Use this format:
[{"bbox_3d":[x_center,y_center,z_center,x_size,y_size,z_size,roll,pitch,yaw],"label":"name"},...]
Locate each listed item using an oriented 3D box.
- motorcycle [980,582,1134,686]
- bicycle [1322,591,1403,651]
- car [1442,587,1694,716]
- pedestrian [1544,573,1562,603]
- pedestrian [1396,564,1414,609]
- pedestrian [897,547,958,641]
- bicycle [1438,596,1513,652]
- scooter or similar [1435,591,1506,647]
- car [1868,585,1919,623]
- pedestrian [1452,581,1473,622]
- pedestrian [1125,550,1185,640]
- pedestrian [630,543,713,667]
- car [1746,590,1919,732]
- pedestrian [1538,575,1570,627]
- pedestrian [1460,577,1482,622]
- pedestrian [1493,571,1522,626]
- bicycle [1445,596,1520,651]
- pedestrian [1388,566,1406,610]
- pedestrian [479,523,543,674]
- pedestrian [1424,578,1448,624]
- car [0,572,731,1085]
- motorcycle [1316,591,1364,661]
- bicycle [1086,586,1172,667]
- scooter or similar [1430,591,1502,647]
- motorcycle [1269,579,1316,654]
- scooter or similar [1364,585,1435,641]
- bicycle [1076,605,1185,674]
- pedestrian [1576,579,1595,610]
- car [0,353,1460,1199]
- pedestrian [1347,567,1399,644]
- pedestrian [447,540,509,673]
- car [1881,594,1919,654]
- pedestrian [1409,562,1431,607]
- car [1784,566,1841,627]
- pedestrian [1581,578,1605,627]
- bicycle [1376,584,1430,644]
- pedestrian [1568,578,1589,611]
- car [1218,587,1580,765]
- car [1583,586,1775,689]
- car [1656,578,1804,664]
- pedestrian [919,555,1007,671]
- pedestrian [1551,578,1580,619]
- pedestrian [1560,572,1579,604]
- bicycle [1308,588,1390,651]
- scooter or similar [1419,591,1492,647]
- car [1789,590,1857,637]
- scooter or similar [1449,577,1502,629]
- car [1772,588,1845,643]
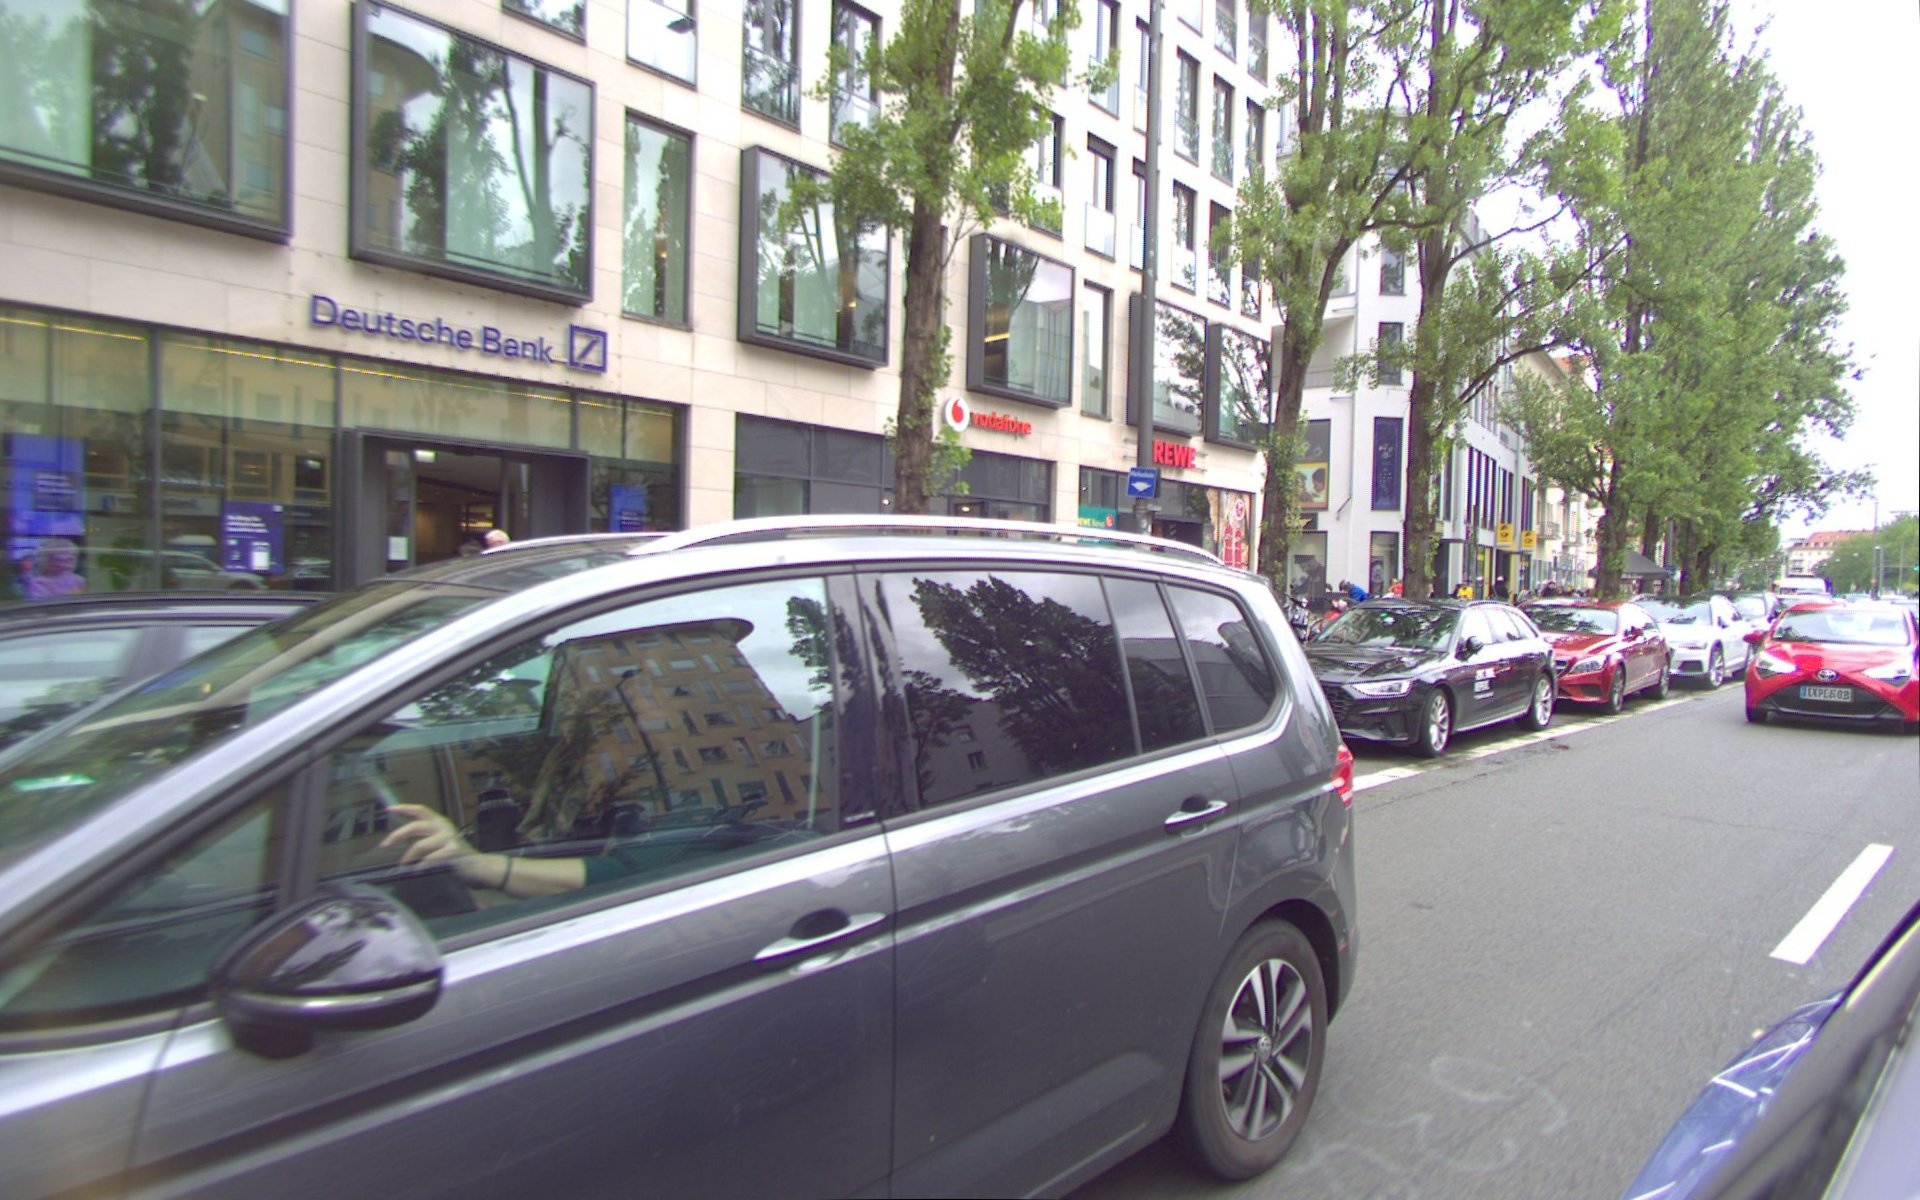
[{"bbox_3d":[1.308,0.430,13.644,1.946,1.267,0.636,3,2,16],"label":"motorcycle"},{"bbox_3d":[8.754,0.435,22.085,0.442,1.186,1.772,1,2,-25],"label":"bicycle"},{"bbox_3d":[8.749,0.599,14.356,4.726,1.468,1.932,0,2,-45],"label":"car"},{"bbox_3d":[32.165,-0.652,54.893,0.689,1.604,0.762,3,1,38],"label":"pedestrian"},{"bbox_3d":[16.517,-0.495,37.524,0.545,1.644,0.501,0,1,33],"label":"pedestrian"},{"bbox_3d":[-0.589,-0.121,18.125,0.794,1.641,0.706,3,2,44],"label":"pedestrian"},{"bbox_3d":[12.231,0.548,24.032,1.479,1.222,0.527,3,2,44],"label":"bicycle"},{"bbox_3d":[11.942,0.423,23.697,1.434,1.215,0.306,3,2,43],"label":"scooter or similar"},{"bbox_3d":[45.696,0.155,49.234,1.990,1.771,3.945,1,1,38],"label":"car"},{"bbox_3d":[19.778,0.057,39.801,0.557,1.595,0.674,2,1,16],"label":"pedestrian"},{"bbox_3d":[4.228,-0.122,21.946,0.922,1.892,0.819,0,2,-42],"label":"pedestrian"},{"bbox_3d":[-3.990,0.047,13.991,0.824,1.641,0.736,0,2,-44],"label":"pedestrian"},{"bbox_3d":[11.078,0.636,12.491,3.536,1.464,1.667,-1,1,-44],"label":"car"},{"bbox_3d":[19.829,0.026,33.791,0.714,1.696,0.771,4,2,43],"label":"pedestrian"},{"bbox_3d":[19.174,-0.032,37.962,0.559,1.654,0.492,1,2,-37],"label":"pedestrian"},{"bbox_3d":[20.073,-0.063,37.108,0.646,1.948,0.912,4,2,43],"label":"pedestrian"},{"bbox_3d":[12.598,0.546,24.435,1.479,1.222,0.527,3,2,44],"label":"bicycle"},{"bbox_3d":[16.481,-0.441,38.164,0.541,1.644,0.505,0,1,15],"label":"pedestrian"},{"bbox_3d":[-5.049,-0.020,11.406,0.546,1.658,0.553,1,1,-14],"label":"pedestrian"},{"bbox_3d":[16.460,0.032,35.023,0.559,1.586,0.492,1,2,-37],"label":"pedestrian"},{"bbox_3d":[-3.208,0.636,3.602,4.355,1.411,1.737,0,3,-41],"label":"car"},{"bbox_3d":[6.937,0.438,18.444,0.680,1.170,1.630,2,2,24],"label":"motorcycle"},{"bbox_3d":[2.699,0.393,16.058,0.455,1.202,1.688,3,2,43],"label":"bicycle"},{"bbox_3d":[11.714,0.418,23.459,1.434,1.215,0.306,3,2,43],"label":"scooter or similar"},{"bbox_3d":[6.474,0.289,19.653,0.680,1.373,1.630,2,2,24],"label":"motorcycle"},{"bbox_3d":[10.272,0.293,23.660,0.544,1.226,1.387,1,2,-41],"label":"scooter or similar"},{"bbox_3d":[2.533,0.567,14.925,1.728,0.952,0.435,1,2,-34],"label":"bicycle"},{"bbox_3d":[32.351,-0.302,52.356,0.681,1.577,0.739,3,2,40],"label":"pedestrian"},{"bbox_3d":[-0.665,0.563,2.317,4.110,1.634,1.765,0,1,-40],"label":"car"},{"bbox_3d":[9.170,0.113,22.492,0.600,1.639,0.796,1,2,-25],"label":"pedestrian"},{"bbox_3d":[-5.615,0.071,11.803,0.536,1.509,0.505,1,1,-14],"label":"pedestrian"},{"bbox_3d":[25.365,0.606,26.481,1.736,1.488,3.986,2,1,44],"label":"car"},{"bbox_3d":[17.207,-0.581,37.872,0.497,1.644,0.549,0,1,-31],"label":"pedestrian"},{"bbox_3d":[40.993,-0.224,48.736,1.991,2.776,5.475,1,1,40],"label":"car"},{"bbox_3d":[23.289,0.090,37.245,0.665,1.746,0.761,3,2,31],"label":"pedestrian"},{"bbox_3d":[8.596,0.240,19.584,0.639,1.076,1.750,3,2,33],"label":"bicycle"},{"bbox_3d":[30.250,-0.262,49.494,0.681,1.577,0.739,3,2,40],"label":"pedestrian"},{"bbox_3d":[4.750,0.625,10.640,4.349,1.446,1.850,0,2,-42],"label":"car"},{"bbox_3d":[12.815,0.568,17.914,4.724,1.519,1.813,0,3,-43],"label":"car"},{"bbox_3d":[17.363,0.378,22.741,4.572,1.721,1.927,-1,1,-43],"label":"car"},{"bbox_3d":[0.044,0.164,14.655,0.834,1.596,0.923,3,2,44],"label":"pedestrian"},{"bbox_3d":[25.244,-0.057,42.197,0.799,1.657,1.008,3,2,42],"label":"pedestrian"},{"bbox_3d":[32.386,-0.629,53.776,0.689,1.669,0.787,3,1,38],"label":"pedestrian"},{"bbox_3d":[7.888,0.385,20.514,1.424,1.204,0.549,2,1,-10],"label":"bicycle"},{"bbox_3d":[11.437,0.420,23.383,1.434,1.215,0.306,3,2,43],"label":"scooter or similar"},{"bbox_3d":[35.521,0.496,41.612,1.928,1.827,4.706,1,1,43],"label":"car"},{"bbox_3d":[12.741,0.063,25.025,1.050,1.241,0.374,3,2,44],"label":"scooter or similar"},{"bbox_3d":[28.397,0.472,33.838,1.726,1.707,4.341,1,1,42],"label":"car"}]
